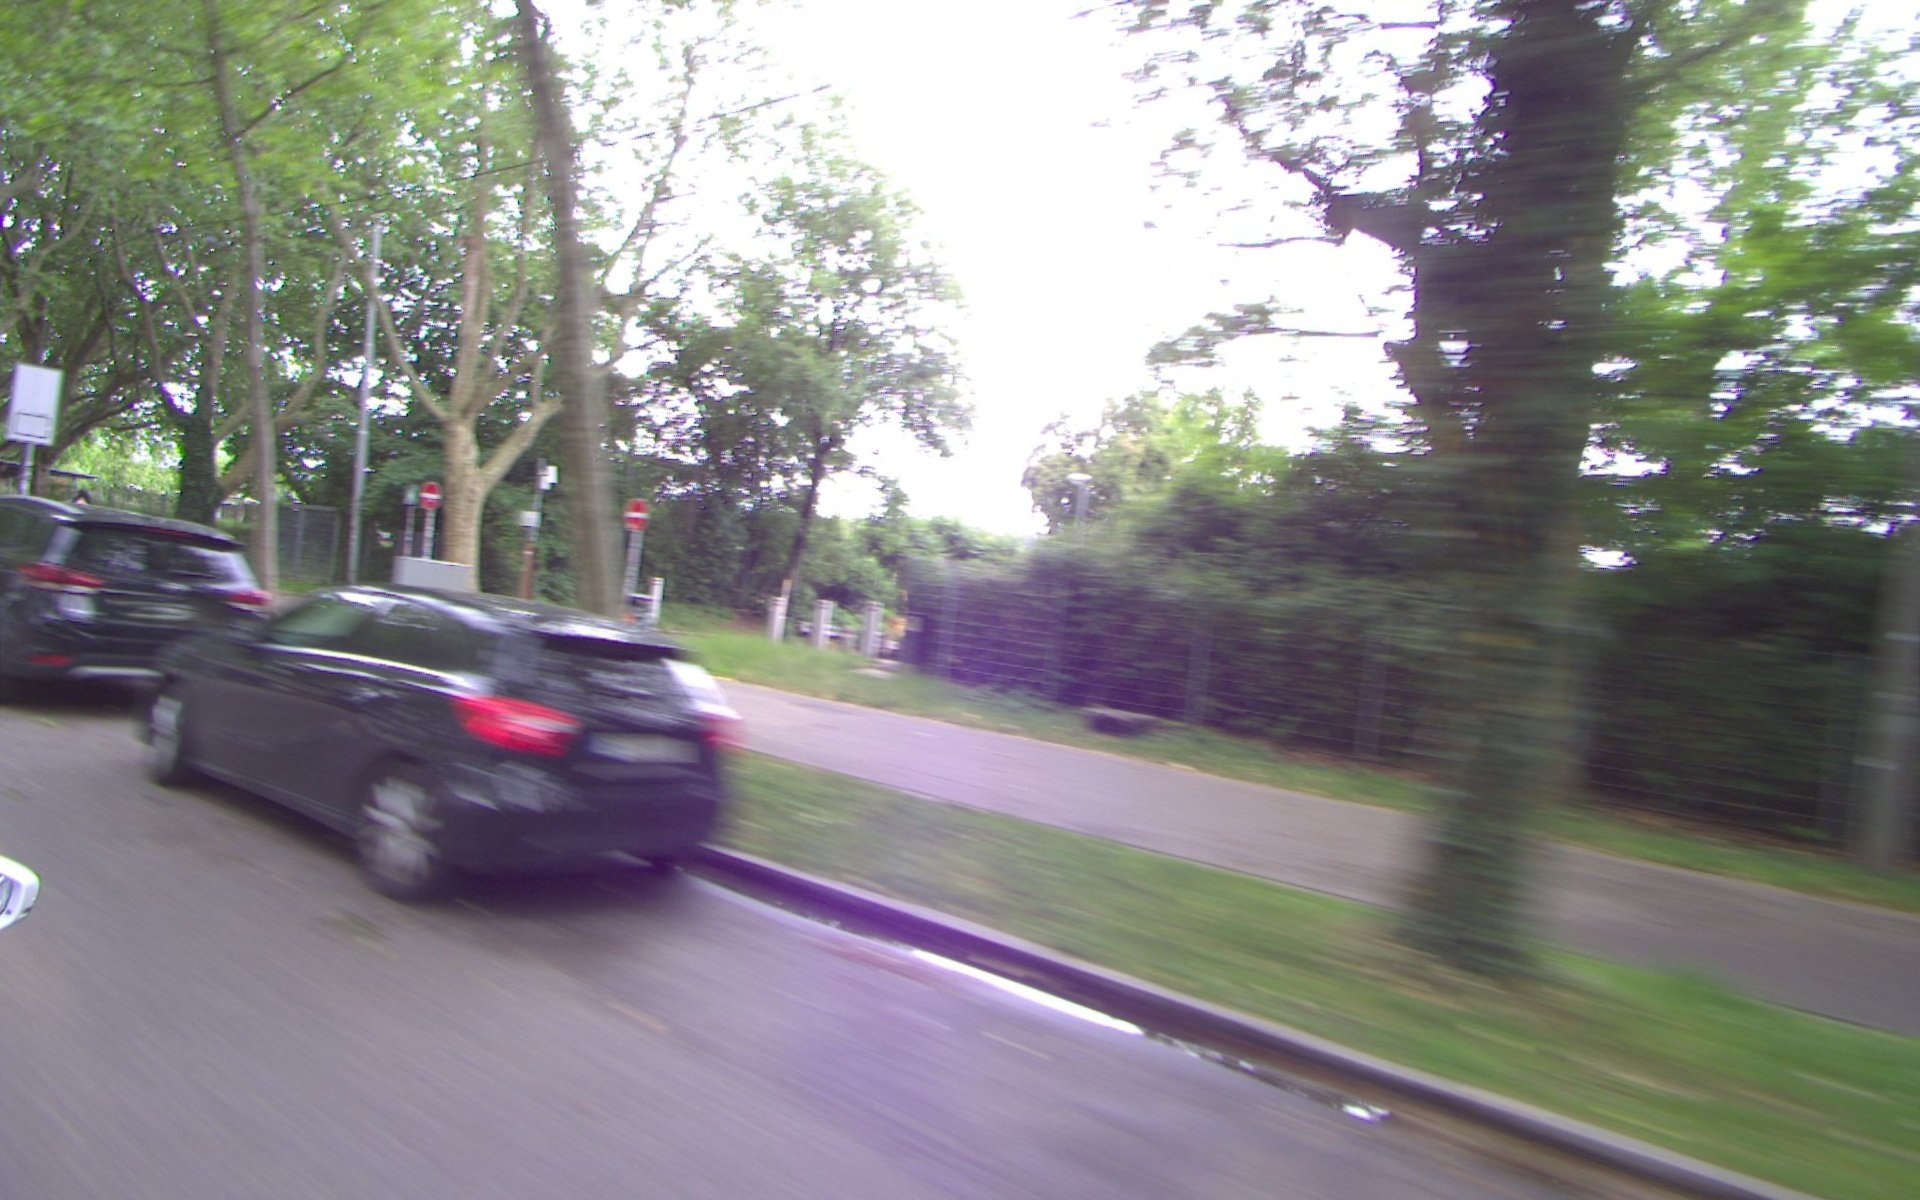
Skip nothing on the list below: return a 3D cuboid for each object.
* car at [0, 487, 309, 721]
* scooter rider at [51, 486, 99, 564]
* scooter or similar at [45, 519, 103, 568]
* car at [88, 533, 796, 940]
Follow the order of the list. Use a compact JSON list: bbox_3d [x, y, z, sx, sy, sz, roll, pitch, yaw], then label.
[{"bbox_3d":[-8.128,-0.084,9.144,4.393,1.620,1.834,7,-3,31],"label":"car"},{"bbox_3d":[-21.989,-1.862,24.992,0.578,1.823,0.676,7,2,32],"label":"scooter rider"},{"bbox_3d":[-22.032,-1.406,24.999,1.443,1.052,0.680,7,2,33],"label":"scooter or similar"},{"bbox_3d":[-3.248,0.596,6.053,4.217,1.434,1.780,7,-3,33],"label":"car"}]
